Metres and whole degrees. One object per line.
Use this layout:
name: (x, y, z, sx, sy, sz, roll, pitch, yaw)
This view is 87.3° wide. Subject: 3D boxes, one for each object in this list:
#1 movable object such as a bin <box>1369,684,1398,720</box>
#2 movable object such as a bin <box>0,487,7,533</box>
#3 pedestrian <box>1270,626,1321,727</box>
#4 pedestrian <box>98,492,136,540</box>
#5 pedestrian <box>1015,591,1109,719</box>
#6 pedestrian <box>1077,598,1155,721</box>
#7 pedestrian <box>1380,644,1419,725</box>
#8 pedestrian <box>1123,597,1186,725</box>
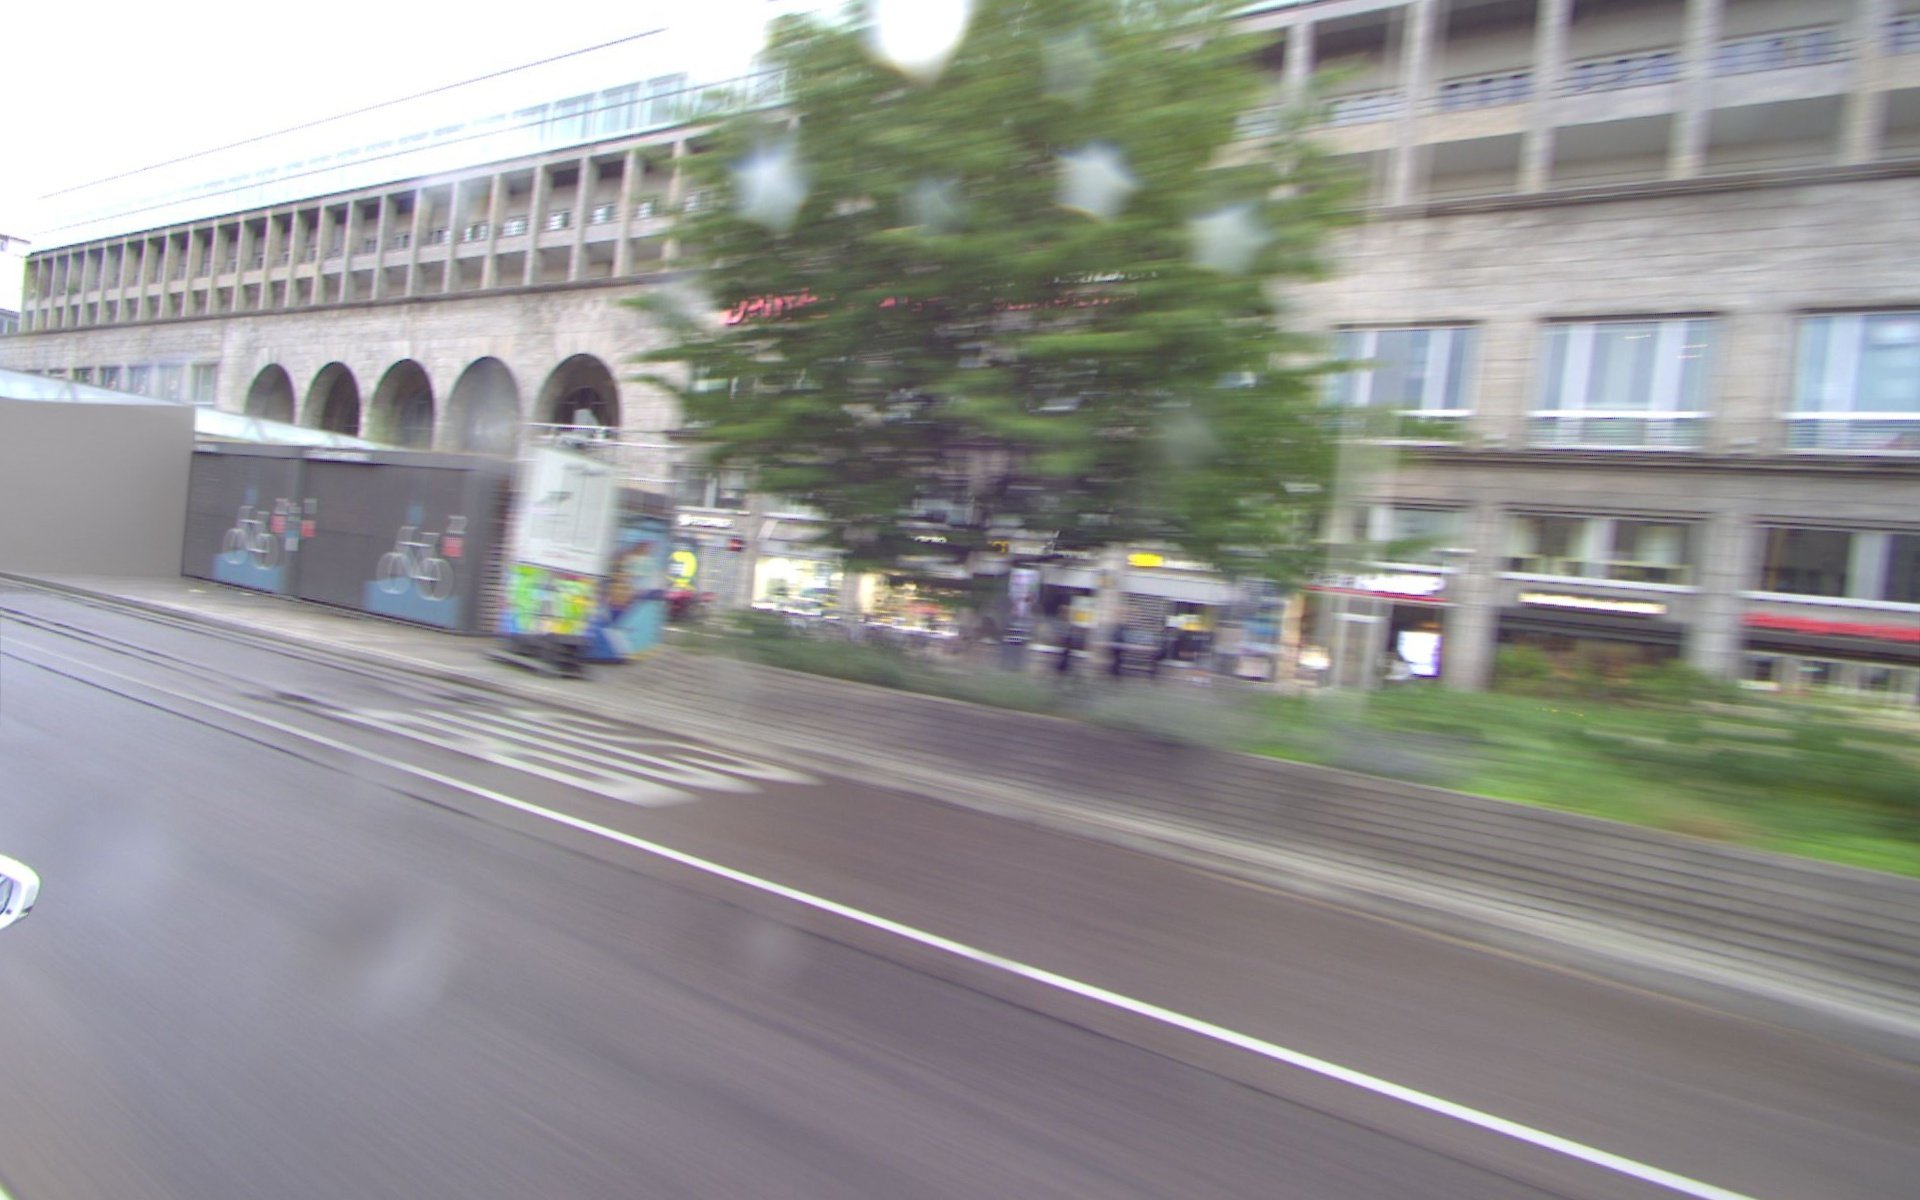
movable object such as a bin: (9.516, 2.281, 22.614, 0.470, 0.733, 0.572, 7, 0, 29)
movable object such as a bin: (-35.722, -3.367, 36.755, 1.028, 1.673, 0.665, 7, 0, 7)
pedestrian: (6.252, 1.418, 18.716, 0.625, 1.773, 0.532, 7, 1, 29)
pedestrian: (-35.679, -3.552, 42.589, 0.739, 1.853, 0.762, 7, 0, 1)
pedestrian: (1.542, 0.817, 15.177, 1.058, 1.772, 0.641, 7, 0, 29)
pedestrian: (2.424, 0.916, 15.613, 0.853, 1.772, 0.613, 7, 0, 29)
pedestrian: (10.036, 1.920, 22.966, 0.563, 1.773, 0.527, 7, 1, 30)
pedestrian: (2.833, 0.884, 14.626, 0.558, 1.772, 0.567, 7, 1, 29)
